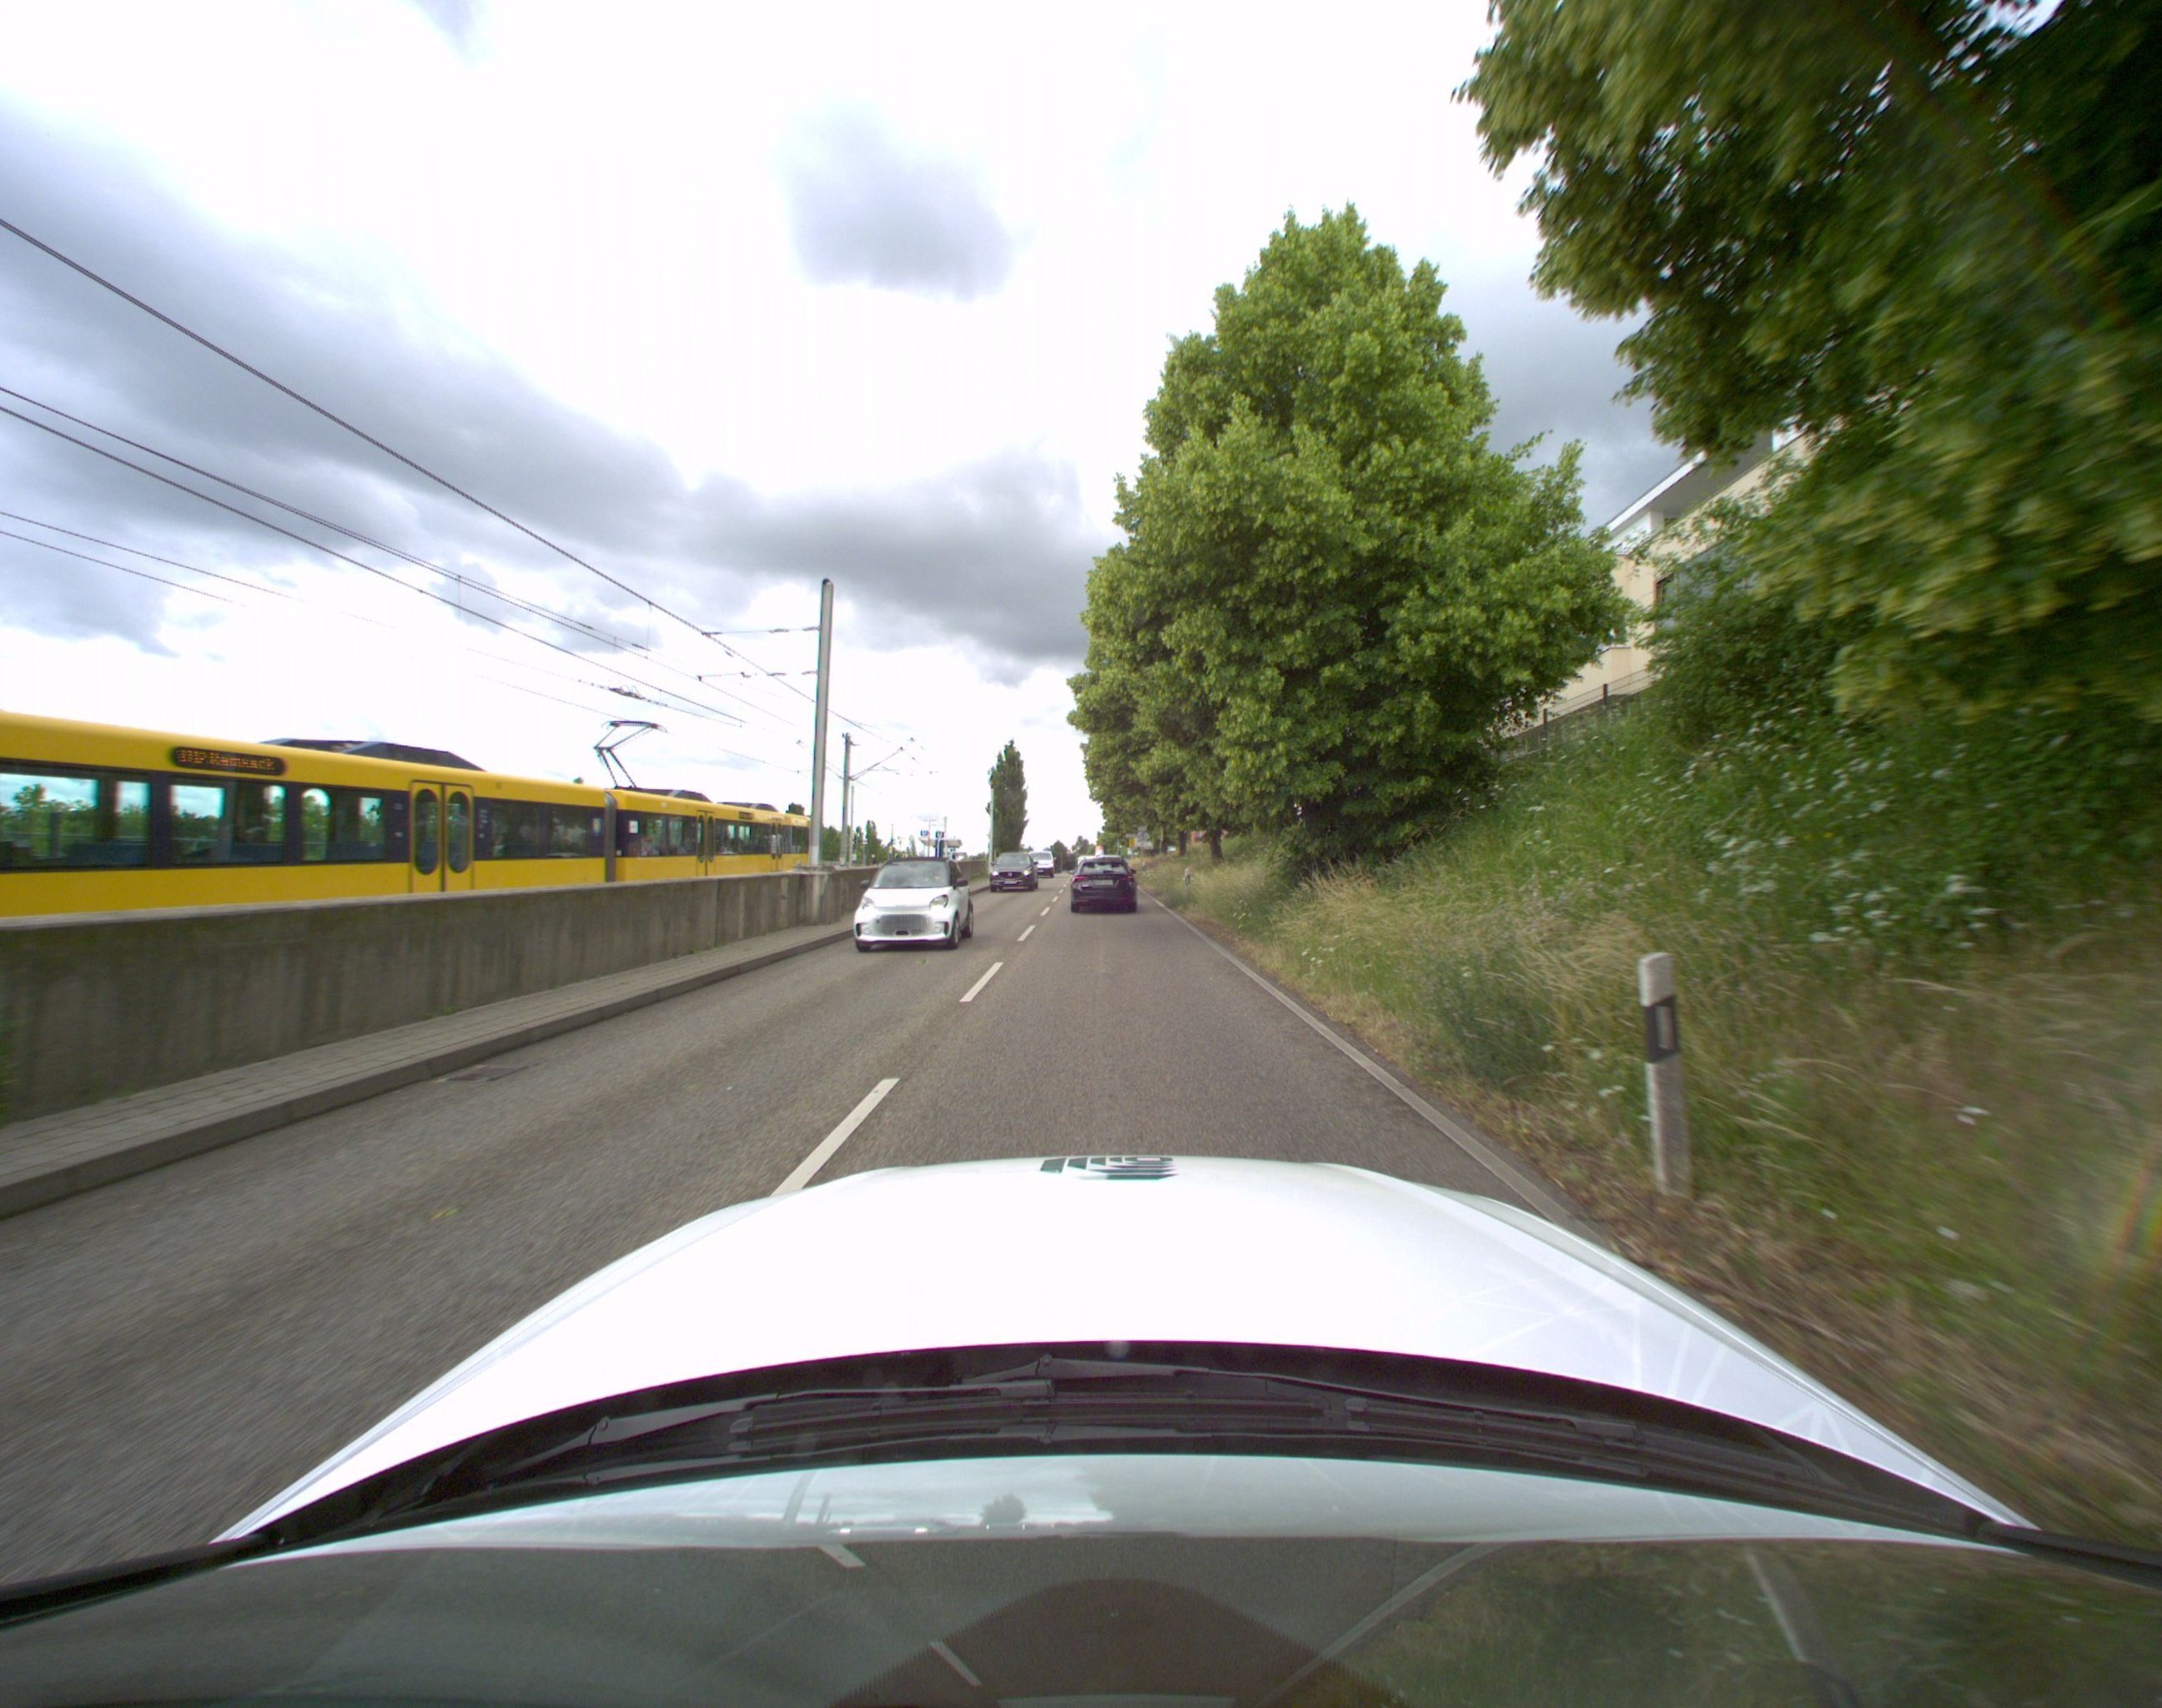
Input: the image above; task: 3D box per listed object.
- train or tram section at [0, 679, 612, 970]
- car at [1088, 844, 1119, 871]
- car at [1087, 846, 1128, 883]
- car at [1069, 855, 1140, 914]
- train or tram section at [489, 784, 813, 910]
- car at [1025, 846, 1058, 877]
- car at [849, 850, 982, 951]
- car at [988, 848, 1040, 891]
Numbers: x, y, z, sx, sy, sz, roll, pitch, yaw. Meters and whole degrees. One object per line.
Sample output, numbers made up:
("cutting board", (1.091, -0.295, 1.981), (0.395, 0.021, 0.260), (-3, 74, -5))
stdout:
("train or tram section", (-12.642, -0.276, 10.147), (2.793, 3.025, 19.296), (-1, 0, -1))
("car", (1.557, 0.261, 56.128), (1.986, 1.740, 4.001), (-1, -1, 2))
("car", (1.334, 0.513, 41.170), (1.986, 1.753, 4.001), (-1, 0, 1))
("car", (0.663, 0.761, 22.574), (1.775, 1.468, 4.002), (-1, 0, 2))
("train or tram section", (-13.465, -0.086, 29.090), (2.791, 3.022, 18.852), (-1, 0, -4))
("car", (-2.737, 0.486, 56.844), (1.987, 2.013, 4.313), (-1, 0, 1))
("car", (-2.911, 0.742, 15.138), (1.727, 1.572, 3.997), (-2, 0, -2))
("car", (-2.891, 0.636, 35.809), (1.904, 1.768, 4.306), (-1, 0, 0))
